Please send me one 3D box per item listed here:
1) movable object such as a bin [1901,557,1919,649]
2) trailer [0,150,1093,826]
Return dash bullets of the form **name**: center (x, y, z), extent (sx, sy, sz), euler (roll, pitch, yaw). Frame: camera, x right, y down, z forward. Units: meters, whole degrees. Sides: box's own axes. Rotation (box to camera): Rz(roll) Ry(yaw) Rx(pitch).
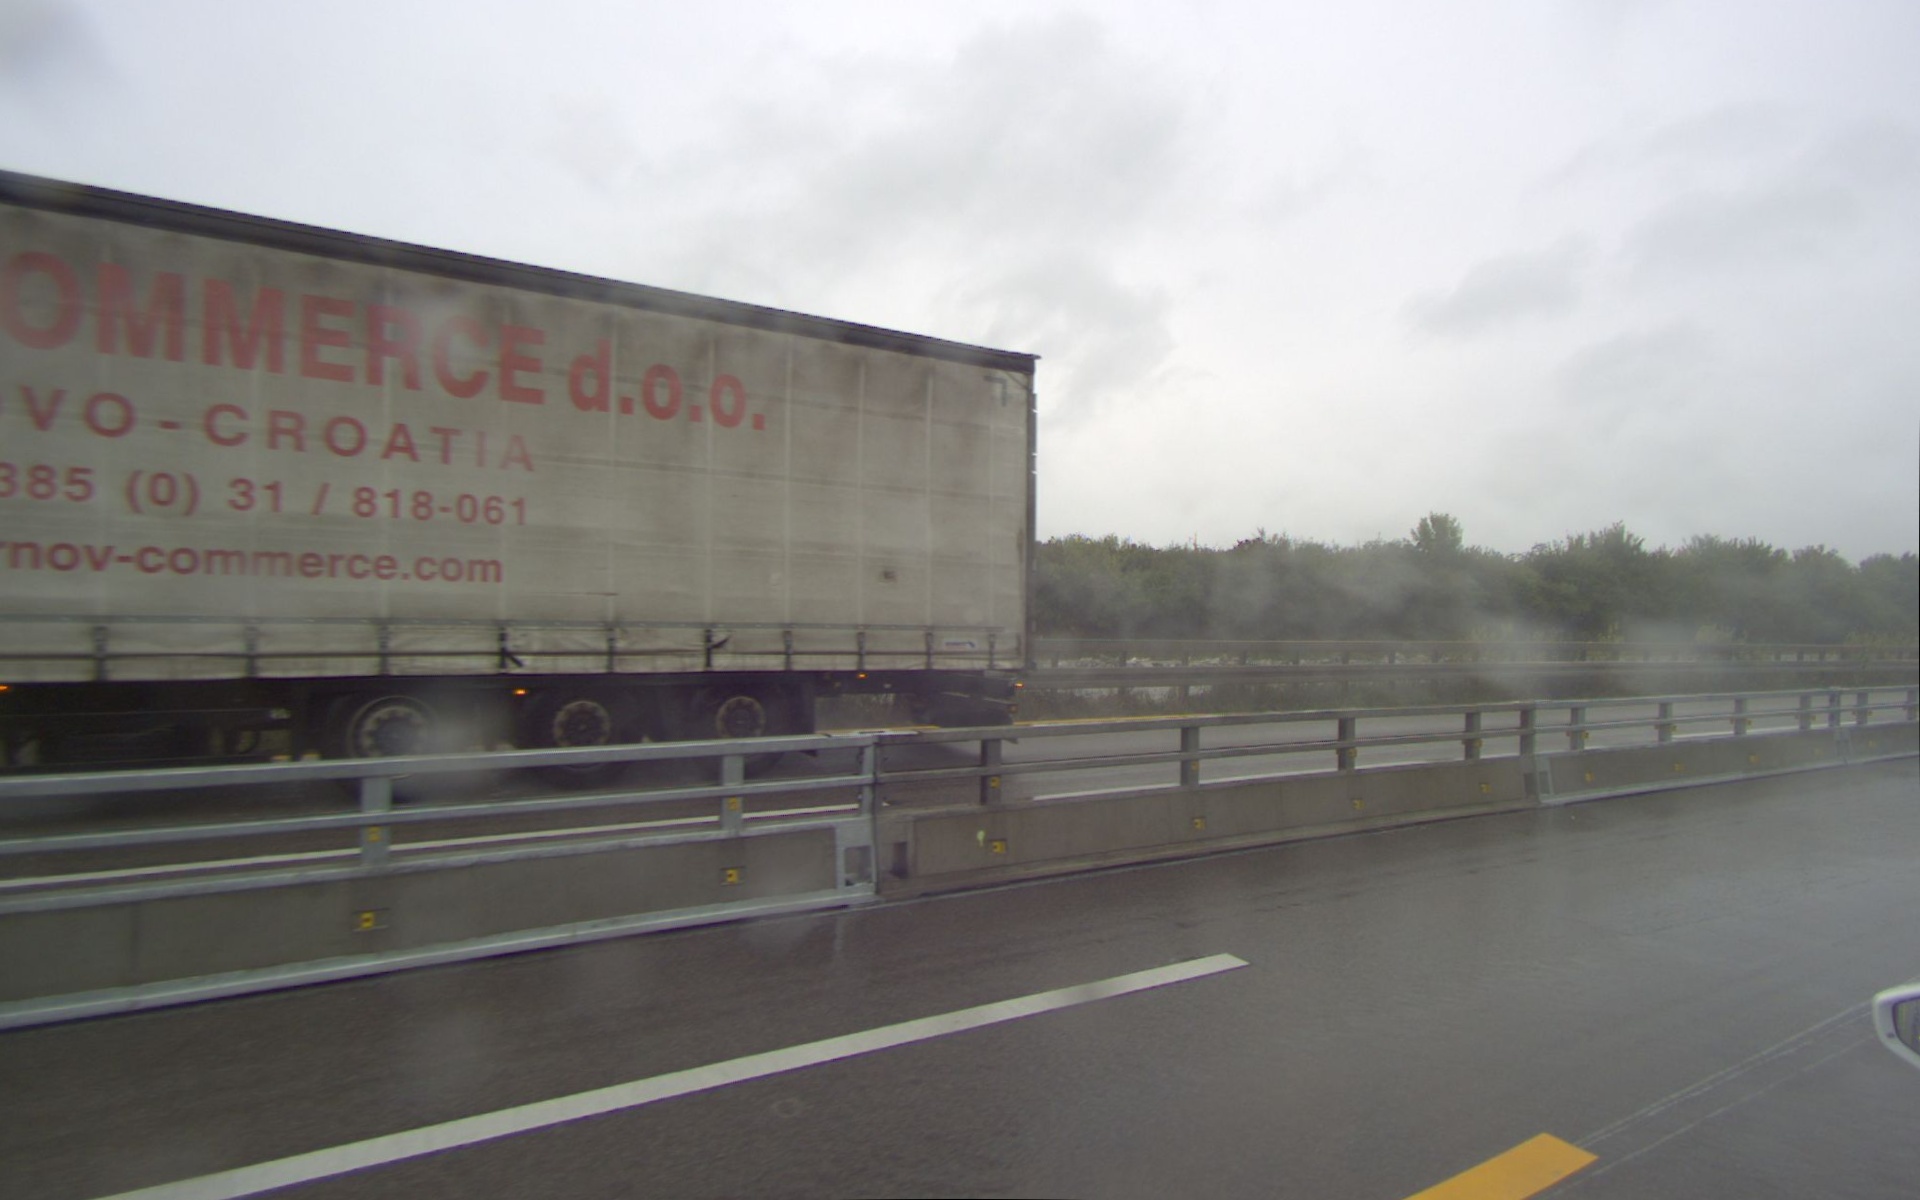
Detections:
- **movable object such as a bin**: center (67.782, 0.381, 66.632), extent (10.900, 5.994, 4.157), euler (2, 0, -26)
- **trailer**: center (-4.450, -0.621, 8.308), extent (11.785, 4.060, 2.600), euler (2, 0, -30)
